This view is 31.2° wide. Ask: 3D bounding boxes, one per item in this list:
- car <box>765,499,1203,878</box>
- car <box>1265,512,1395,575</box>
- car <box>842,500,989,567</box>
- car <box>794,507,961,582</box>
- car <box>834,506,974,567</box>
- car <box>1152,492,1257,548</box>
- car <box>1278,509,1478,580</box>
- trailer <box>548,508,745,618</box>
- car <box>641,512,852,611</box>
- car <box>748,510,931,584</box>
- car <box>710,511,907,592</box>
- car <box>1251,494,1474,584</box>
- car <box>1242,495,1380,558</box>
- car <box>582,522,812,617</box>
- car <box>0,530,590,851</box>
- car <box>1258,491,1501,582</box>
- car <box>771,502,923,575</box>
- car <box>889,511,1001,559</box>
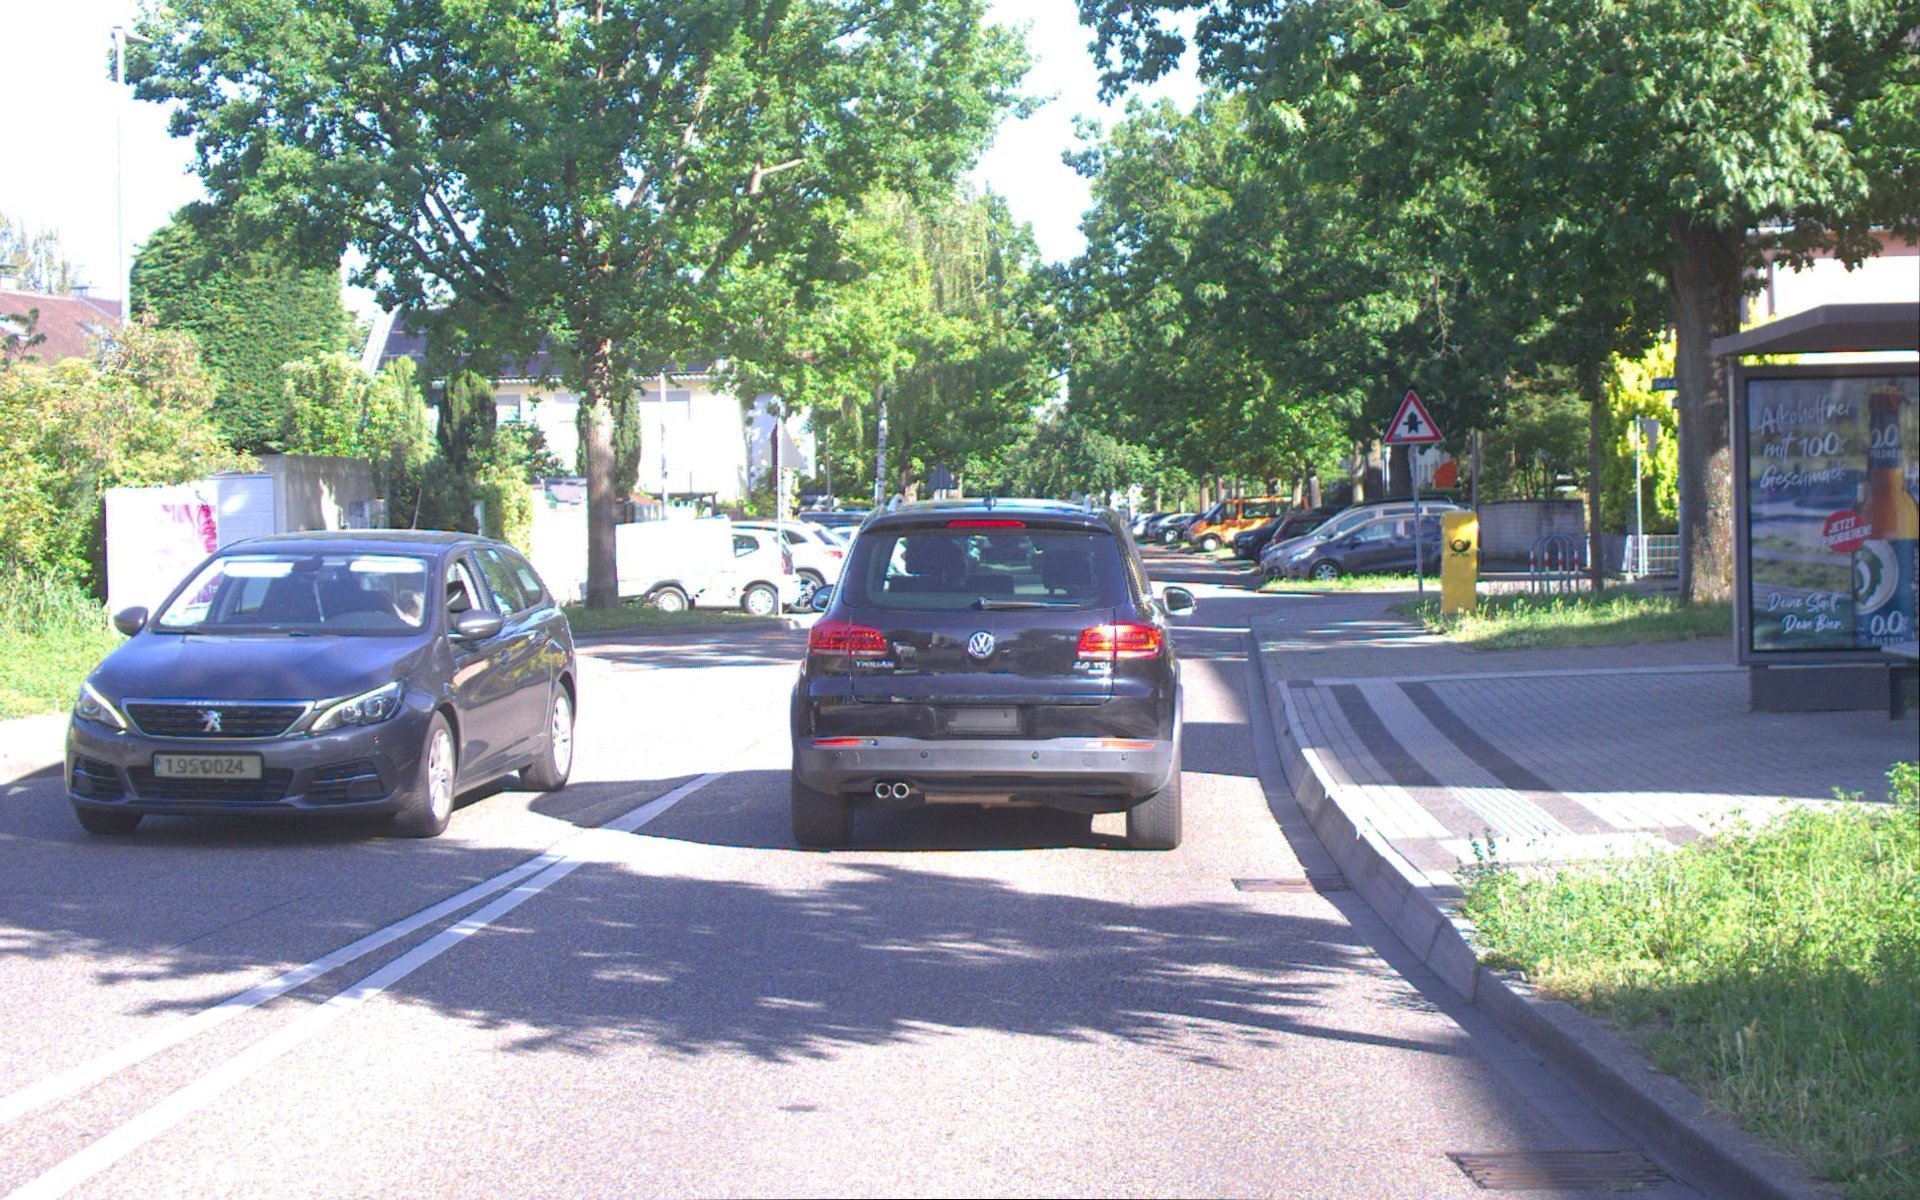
[{"bbox_3d":[0.086,0.329,17.521,1.929,1.648,4.515,0,2,-1],"label":"car"},{"bbox_3d":[9.231,-1.415,85.792,3.044,1.502,1.247,-1,1,-2],"label":"car"},{"bbox_3d":[-1.334,-1.992,103.836,4.390,1.932,1.578,-1,0,0],"label":"car"},{"bbox_3d":[-1.998,-1.366,84.279,3.987,1.725,2.000,-1,1,0],"label":"car"},{"bbox_3d":[-1.624,-1.864,101.380,3.987,1.714,1.820,-1,0,3],"label":"car"},{"bbox_3d":[9.533,-3.104,133.931,3.987,2.007,2.000,-1,-1,4],"label":"car"},{"bbox_3d":[8.655,-1.159,71.450,3.987,1.364,1.846,-1,1,4],"label":"car"},{"bbox_3d":[-4.950,-0.597,54.479,2.967,1.650,1.396,-1,1,0],"label":"trailer"},{"bbox_3d":[-3.663,-0.675,59.441,3.549,1.608,1.853,-1,1,-2],"label":"car"},{"bbox_3d":[-2.774,-1.234,79.563,3.987,1.634,2.000,-1,1,5],"label":"car"},{"bbox_3d":[-3.244,-1.058,74.245,3.987,1.664,2.000,-1,1,5],"label":"car"},{"bbox_3d":[8.634,-1.323,73.952,4.633,1.803,1.824,-1,1,4],"label":"car"},{"bbox_3d":[10.395,-2.188,102.021,3.987,1.769,1.789,-1,1,4],"label":"car"},{"bbox_3d":[-4.318,-0.518,56.804,3.549,1.472,1.808,-1,1,4],"label":"car"},{"bbox_3d":[-3.318,0.368,17.992,1.994,1.438,4.450,1,1,4],"label":"car"},{"bbox_3d":[9.355,-1.425,76.948,5.260,1.939,2.000,-1,1,4],"label":"car"},{"bbox_3d":[-3.001,-1.648,91.818,3.987,1.830,1.638,-1,1,0],"label":"car"},{"bbox_3d":[-0.574,-2.399,126.818,3.986,1.678,1.923,-1,1,-4],"label":"car"}]
